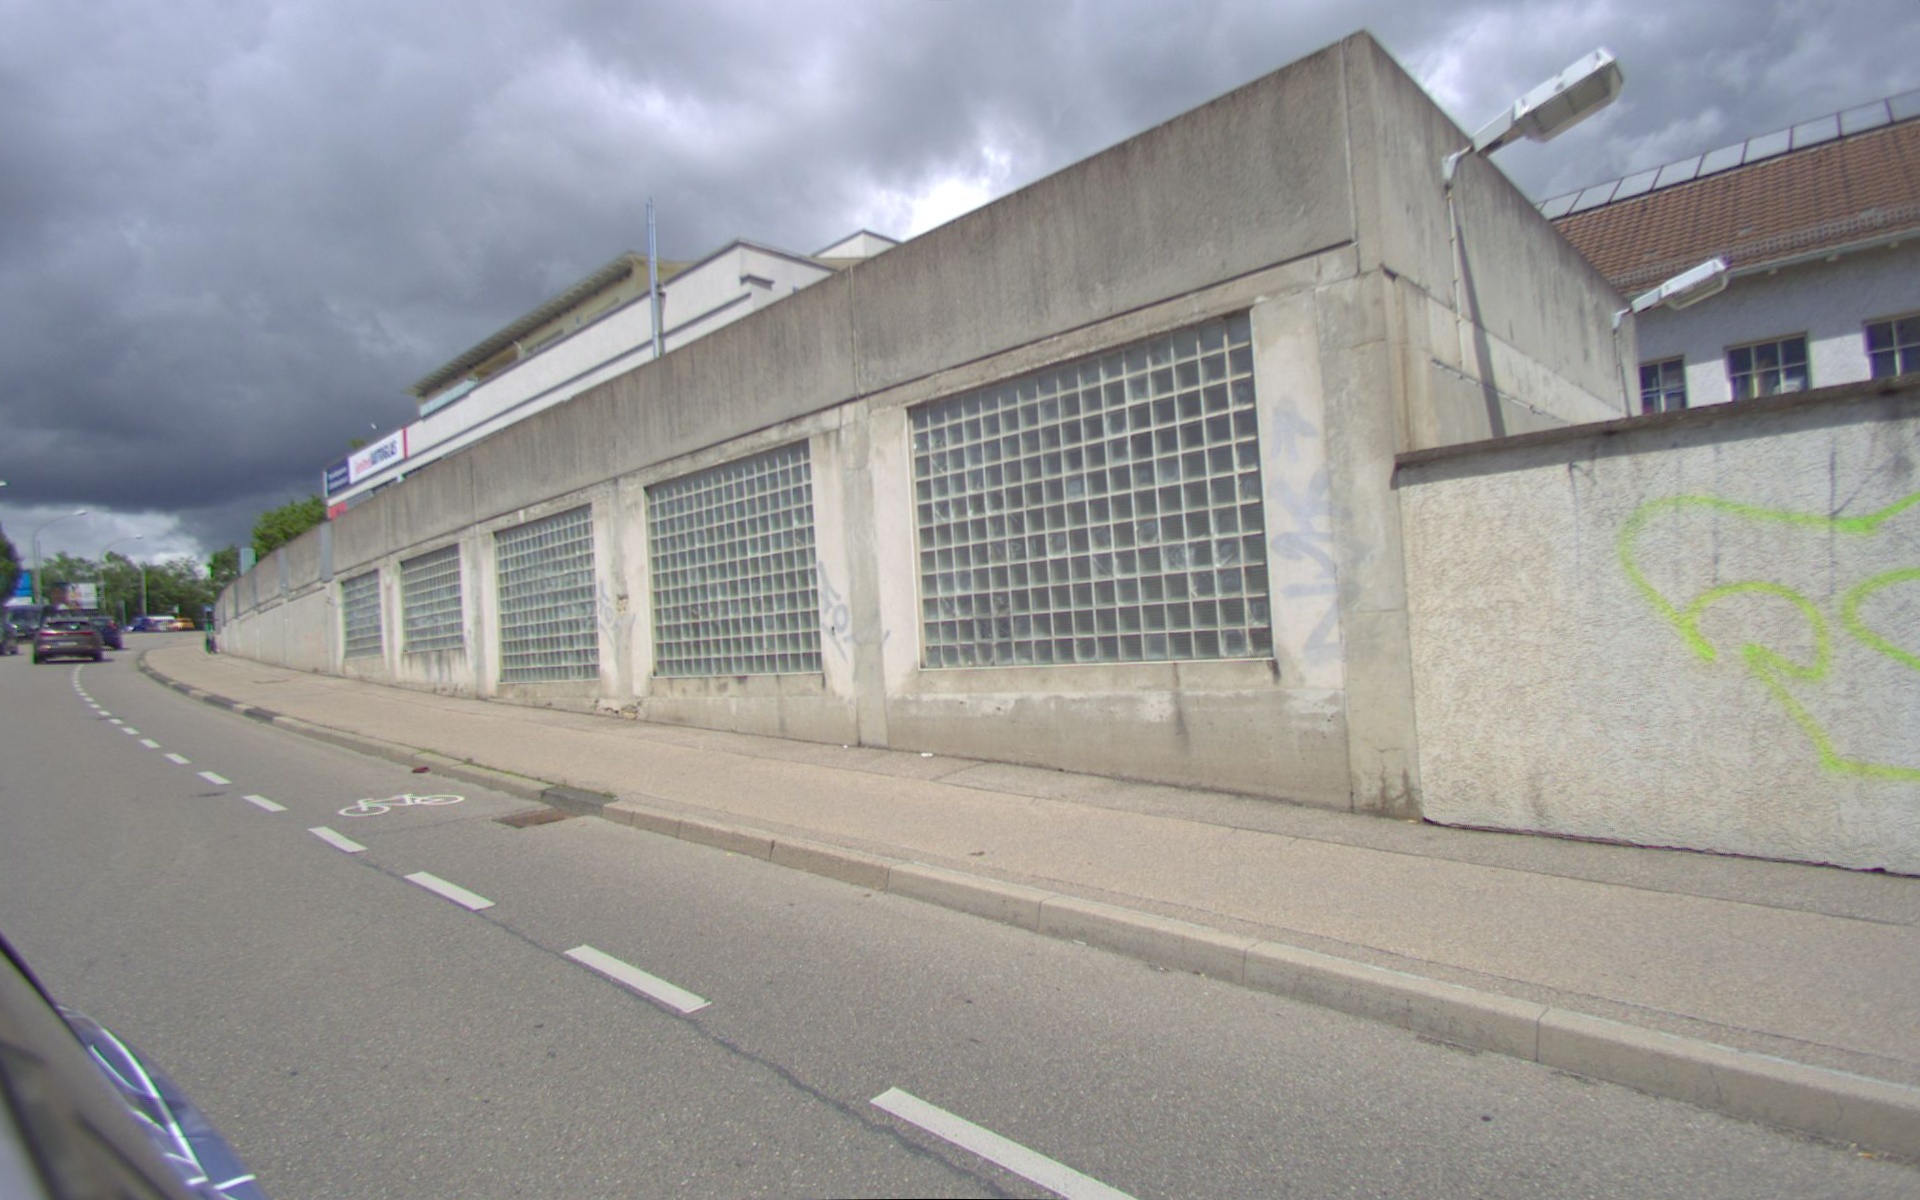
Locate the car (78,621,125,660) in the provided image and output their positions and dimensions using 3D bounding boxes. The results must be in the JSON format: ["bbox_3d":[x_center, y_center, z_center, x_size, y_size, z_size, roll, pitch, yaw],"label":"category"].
[{"bbox_3d":[-42.167,1.938,49.665,1.607,1.831,3.784,0,-1,-43],"label":"car"}]

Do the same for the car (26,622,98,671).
[{"bbox_3d":[-32.444,1.633,36.531,1.778,1.634,4.096,0,-1,-44],"label":"car"}]

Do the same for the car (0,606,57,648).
[{"bbox_3d":[-61.547,1.746,66.726,2.026,2.613,5.751,-1,0,-32],"label":"car"}]

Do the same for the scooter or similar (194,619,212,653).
[{"bbox_3d":[-30.390,1.434,40.623,0.550,1.285,1.308,-1,0,-38],"label":"scooter or similar"}]

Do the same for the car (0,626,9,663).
[{"bbox_3d":[-41.284,1.907,42.464,1.560,1.517,3.966,-1,0,-37],"label":"car"}]

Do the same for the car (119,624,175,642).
[{"bbox_3d":[-102.210,4.105,127.286,1.951,1.984,5.087,-1,0,26],"label":"car"}]

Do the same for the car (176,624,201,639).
[{"bbox_3d":[-86.124,3.517,113.045,1.578,1.502,3.694,-1,0,-27],"label":"car"}]

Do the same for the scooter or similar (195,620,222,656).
[{"bbox_3d":[-27.985,1.395,37.683,1.383,1.285,0.514,-1,2,43],"label":"scooter or similar"}]
